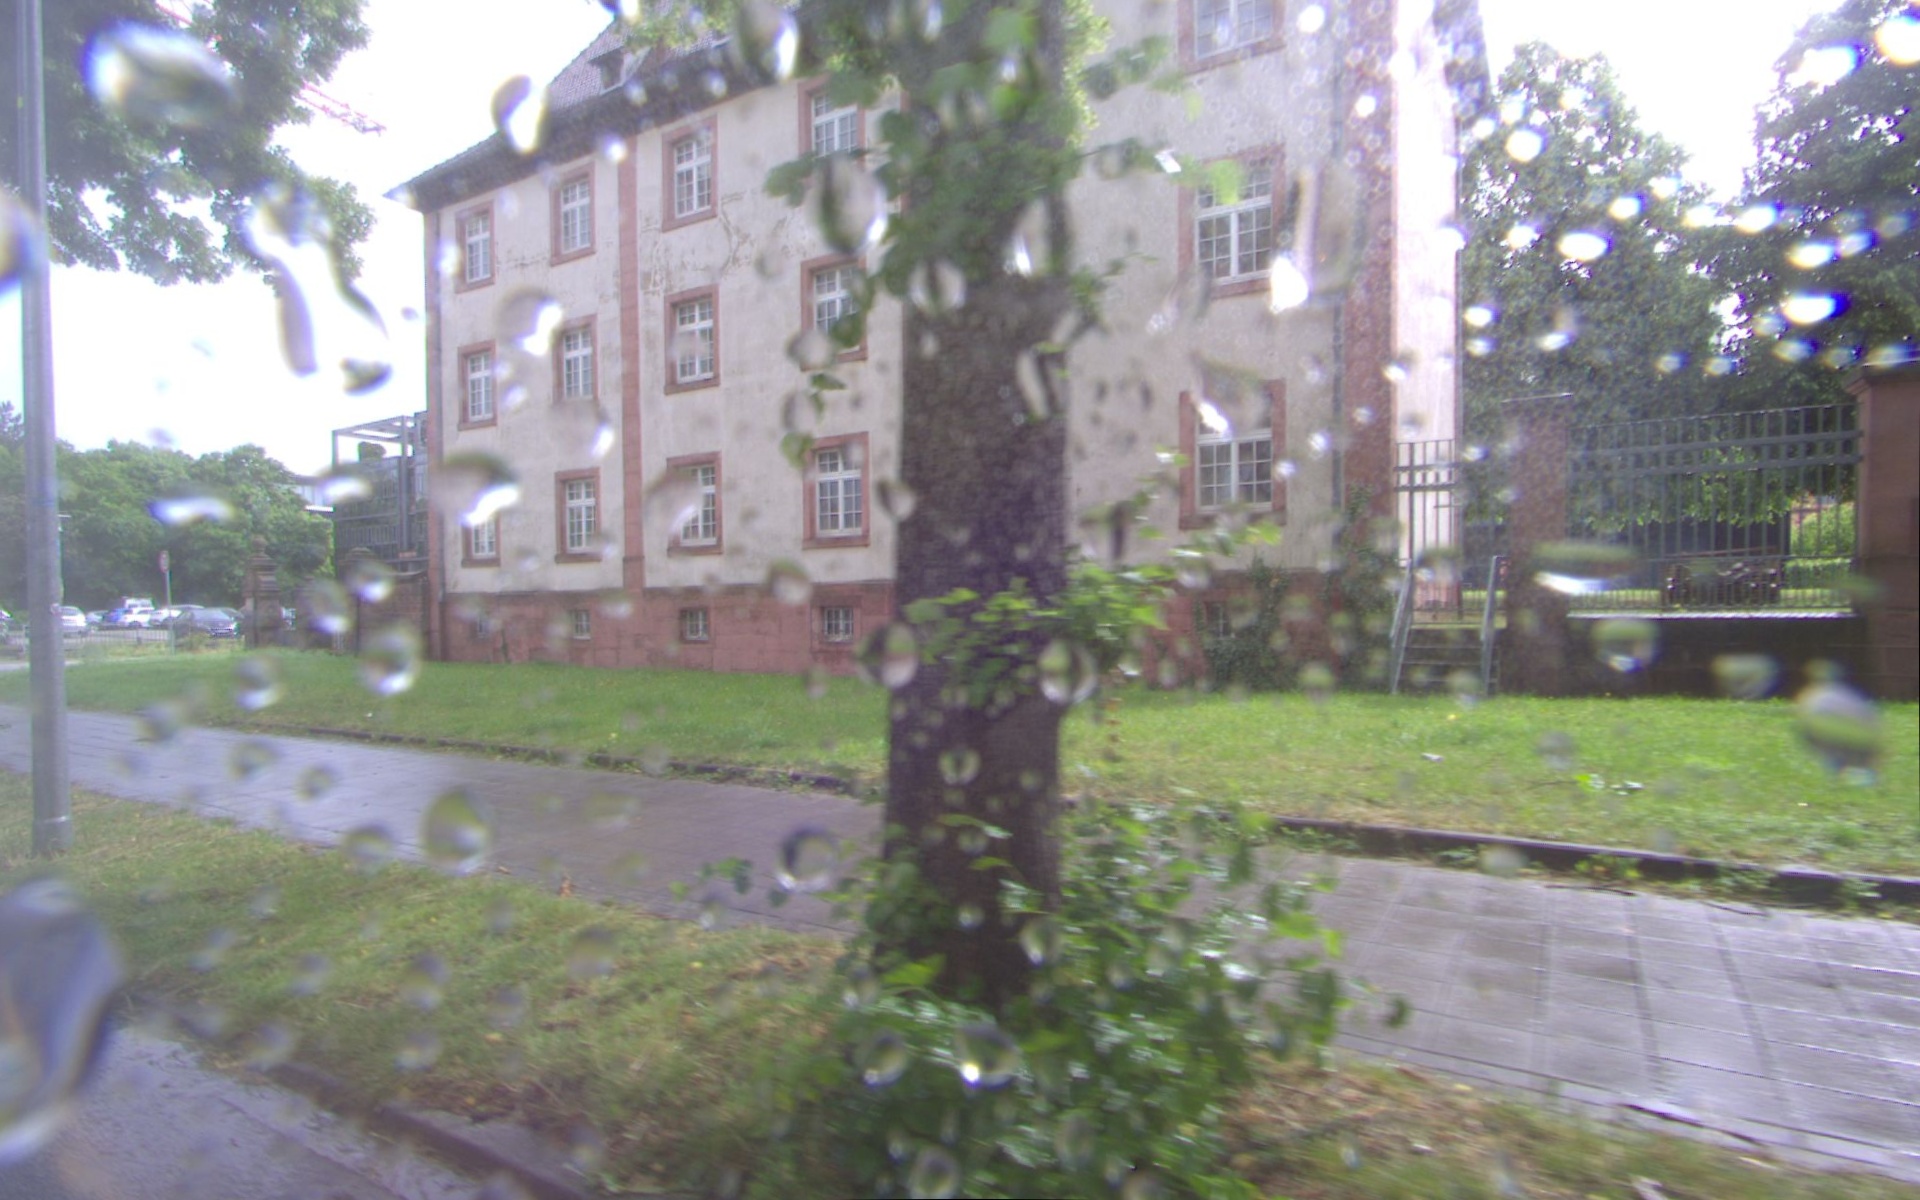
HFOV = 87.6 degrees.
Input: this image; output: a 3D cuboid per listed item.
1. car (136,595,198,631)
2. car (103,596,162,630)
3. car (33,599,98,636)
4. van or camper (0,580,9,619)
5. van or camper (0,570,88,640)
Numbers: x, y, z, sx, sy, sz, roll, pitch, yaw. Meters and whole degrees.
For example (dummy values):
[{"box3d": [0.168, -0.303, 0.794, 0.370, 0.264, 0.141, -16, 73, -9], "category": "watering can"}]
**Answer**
[{"box3d": [-49.329, 0.799, 62.285, 3.948, 2.041, 1.986, -1, 3, 36], "category": "car"}, {"box3d": [-53.768, 0.858, 65.060, 3.948, 2.041, 1.986, -1, 3, 36], "category": "car"}, {"box3d": [-44.999, 0.853, 50.337, 3.822, 1.707, 1.734, 0, 3, 39], "category": "car"}, {"box3d": [-50.440, -0.053, 49.318, 2.101, 1.951, 4.865, 1, 0, 33], "category": "van or camper"}, {"box3d": [-37.008, 0.213, 38.344, 2.136, 2.630, 5.023, 0, 1, 31], "category": "van or camper"}]
